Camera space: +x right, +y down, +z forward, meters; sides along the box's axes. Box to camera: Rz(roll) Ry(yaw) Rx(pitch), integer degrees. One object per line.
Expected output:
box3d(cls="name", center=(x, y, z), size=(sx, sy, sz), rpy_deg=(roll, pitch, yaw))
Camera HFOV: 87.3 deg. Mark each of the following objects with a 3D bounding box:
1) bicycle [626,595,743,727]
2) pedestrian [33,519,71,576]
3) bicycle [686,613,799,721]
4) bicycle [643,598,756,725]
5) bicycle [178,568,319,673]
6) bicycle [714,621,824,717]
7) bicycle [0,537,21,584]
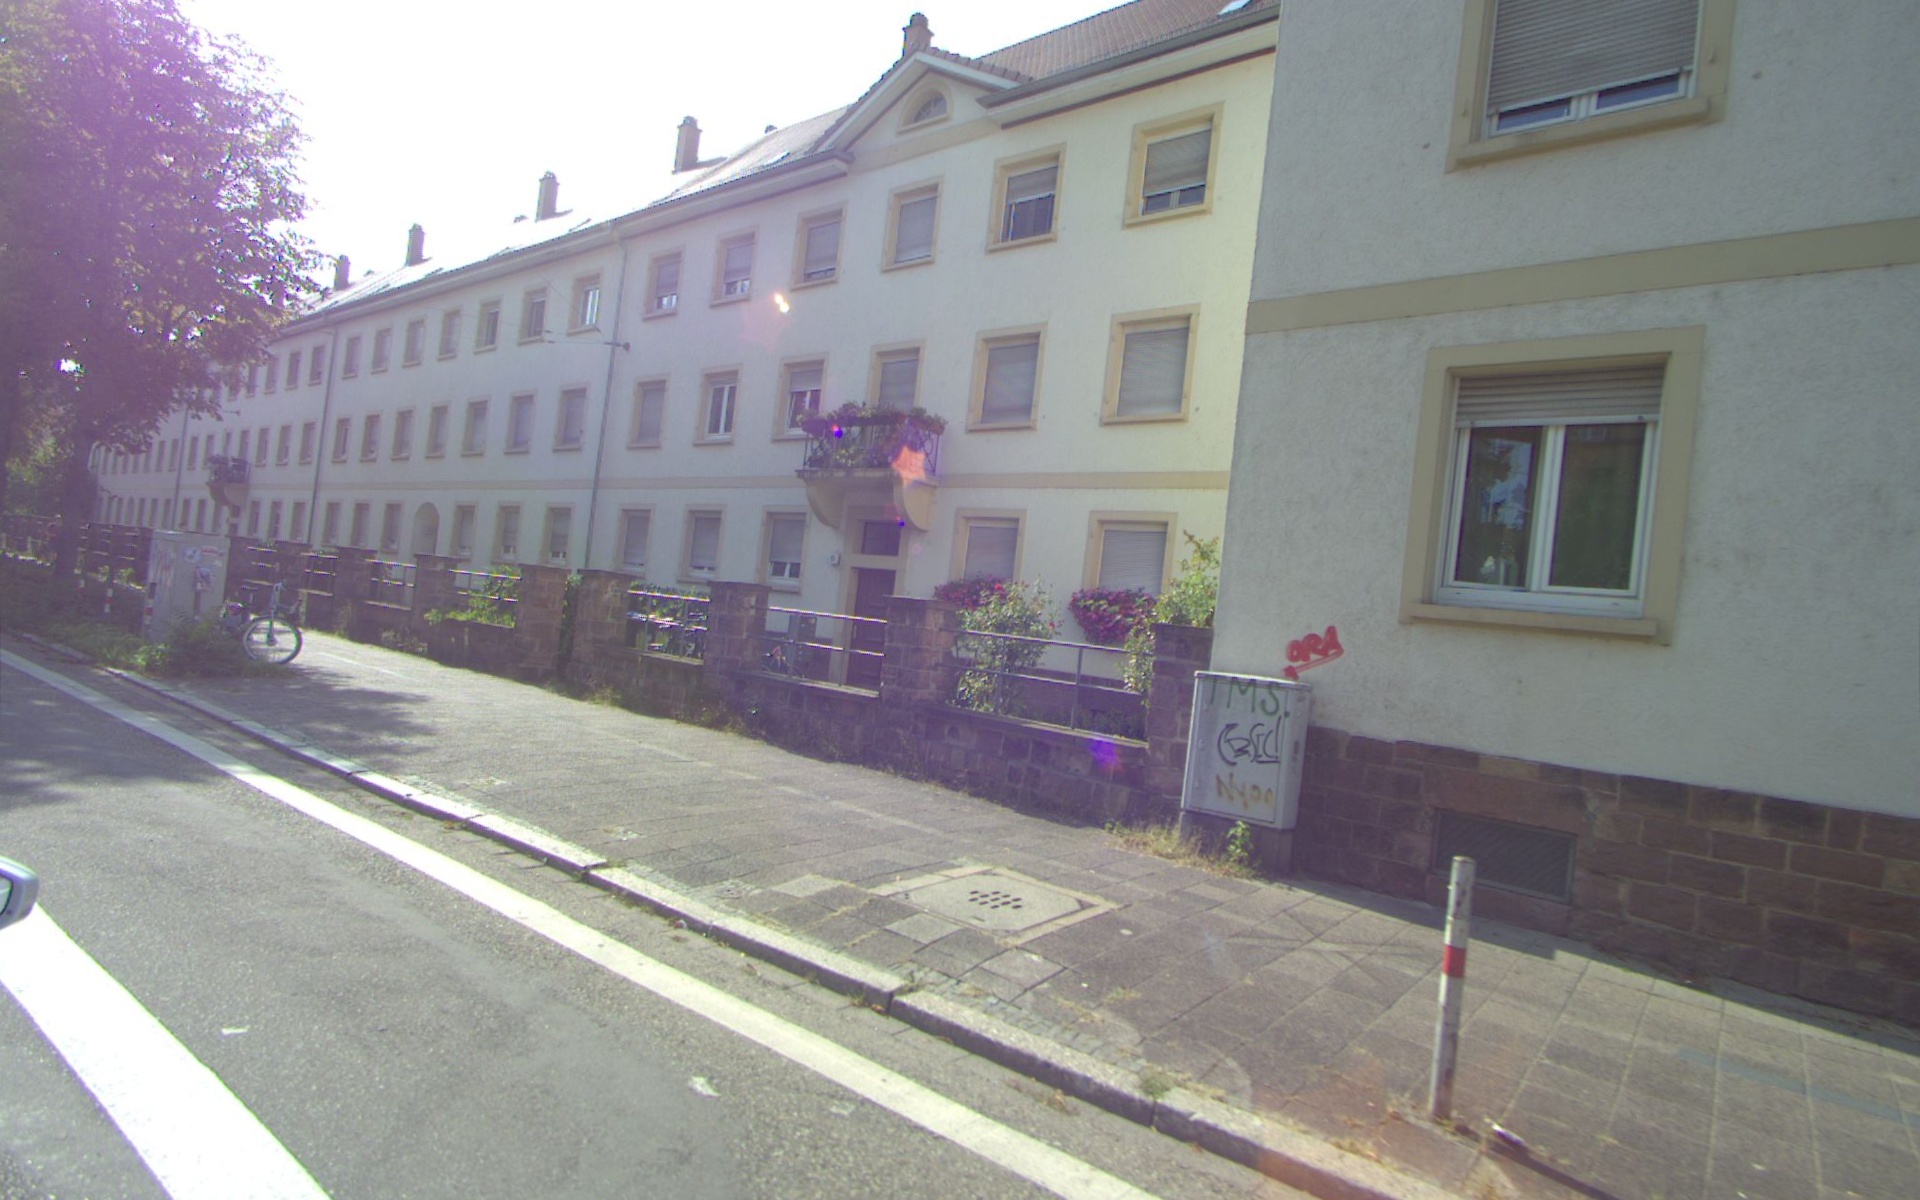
box3d(cls="bicycle", center=(-3.501, 0.739, 12.686), size=(1.717, 1.471, 0.453), rpy_deg=(5, -3, 44))
box3d(cls="pedestrian", center=(-30.215, -1.752, 33.470), size=(0.750, 1.769, 0.867), rpy_deg=(8, -2, -44))
box3d(cls="bicycle", center=(-2.903, 0.865, 13.326), size=(1.717, 1.229, 0.453), rpy_deg=(5, -3, 44))
box3d(cls="bicycle", center=(-3.474, 0.786, 13.311), size=(1.717, 1.471, 0.453), rpy_deg=(5, -3, 44))
box3d(cls="bicycle", center=(-9.315, 0.244, 13.133), size=(2.298, 1.117, 0.772), rpy_deg=(5, -2, 38))
box3d(cls="bicycle", center=(-2.763, 0.957, 14.396), size=(0.519, 1.138, 2.005), rpy_deg=(9, -3, -40))
box3d(cls="bicycle", center=(-22.910, -0.990, 23.445), size=(0.516, 1.085, 1.727), rpy_deg=(7, -2, -8))
